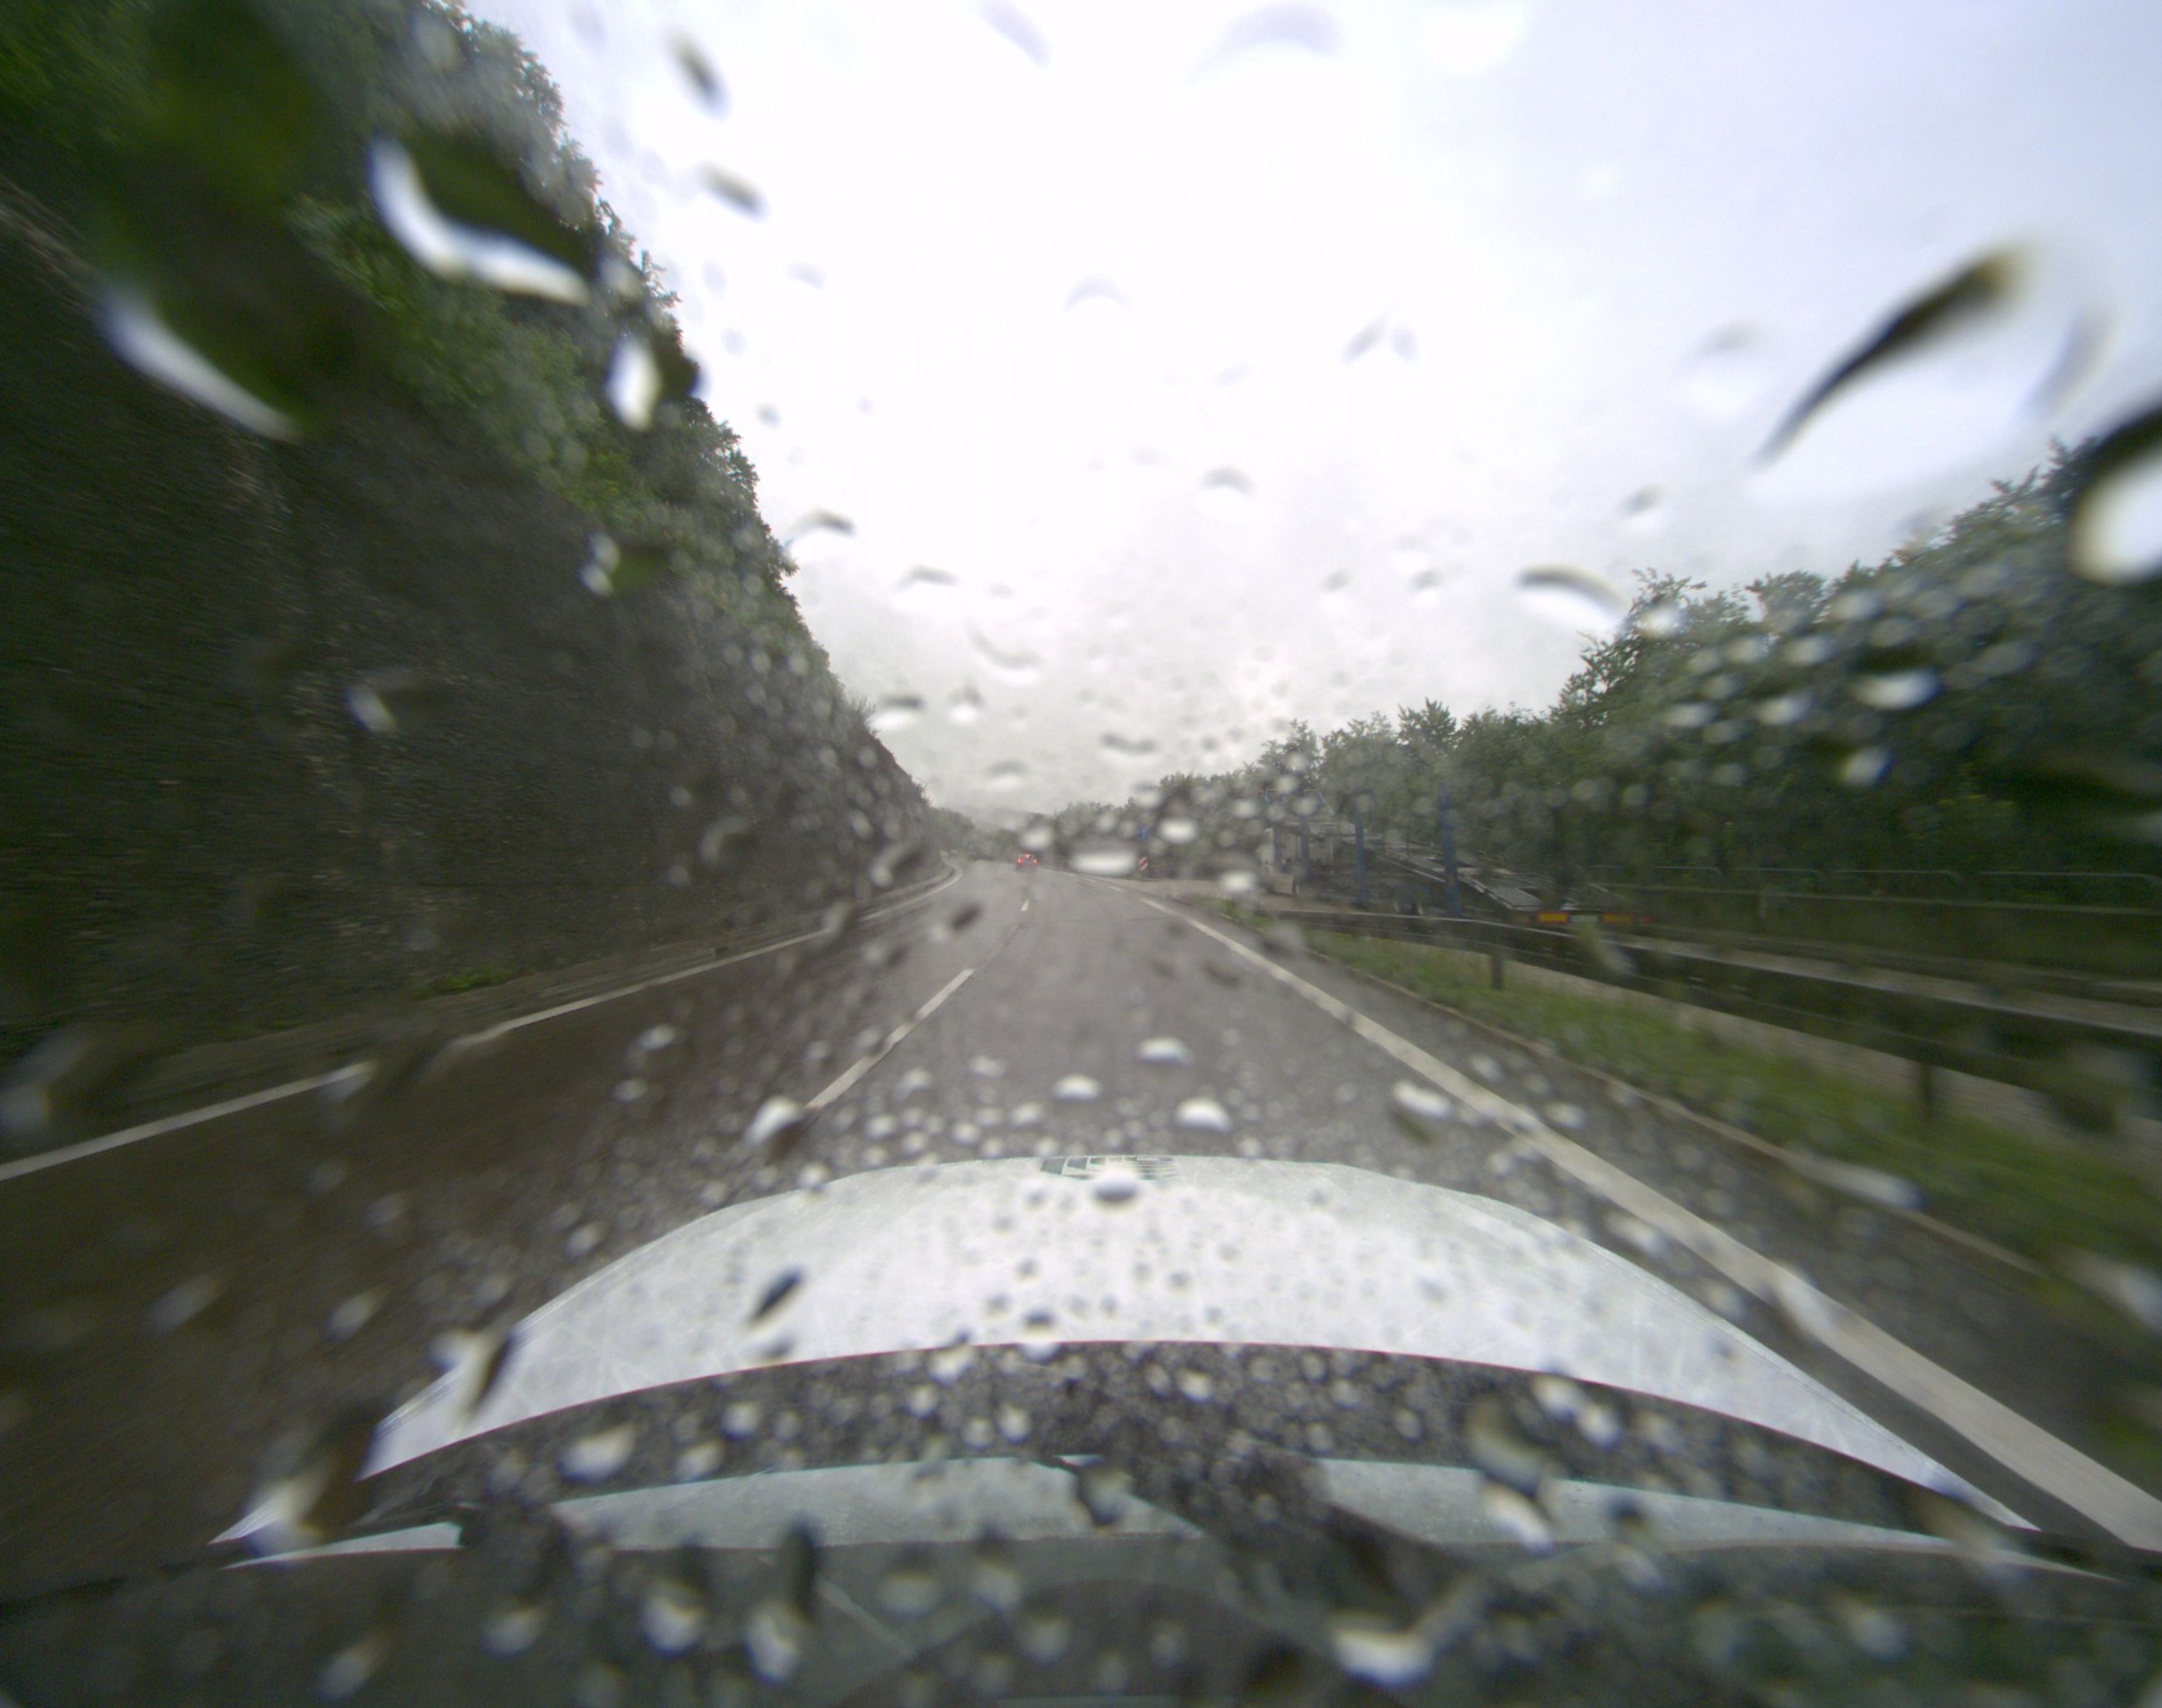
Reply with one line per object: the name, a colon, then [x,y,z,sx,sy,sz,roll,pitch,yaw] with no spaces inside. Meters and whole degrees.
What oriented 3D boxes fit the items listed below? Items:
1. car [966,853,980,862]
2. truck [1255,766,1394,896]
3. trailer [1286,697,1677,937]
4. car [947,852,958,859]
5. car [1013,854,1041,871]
car: [-18.456,0.649,138.968,1.908,1.499,3.978,1,0,-16]
truck: [8.773,-0.741,30.297,2.888,4.245,6.876,-1,0,-2]
trailer: [9.004,-0.627,21.862,2.884,4.245,14.687,-1,0,-1]
car: [-26.346,0.298,166.675,1.907,1.499,3.980,1,0,-15]
car: [-4.914,0.770,73.474,1.906,1.499,3.981,1,0,-14]
